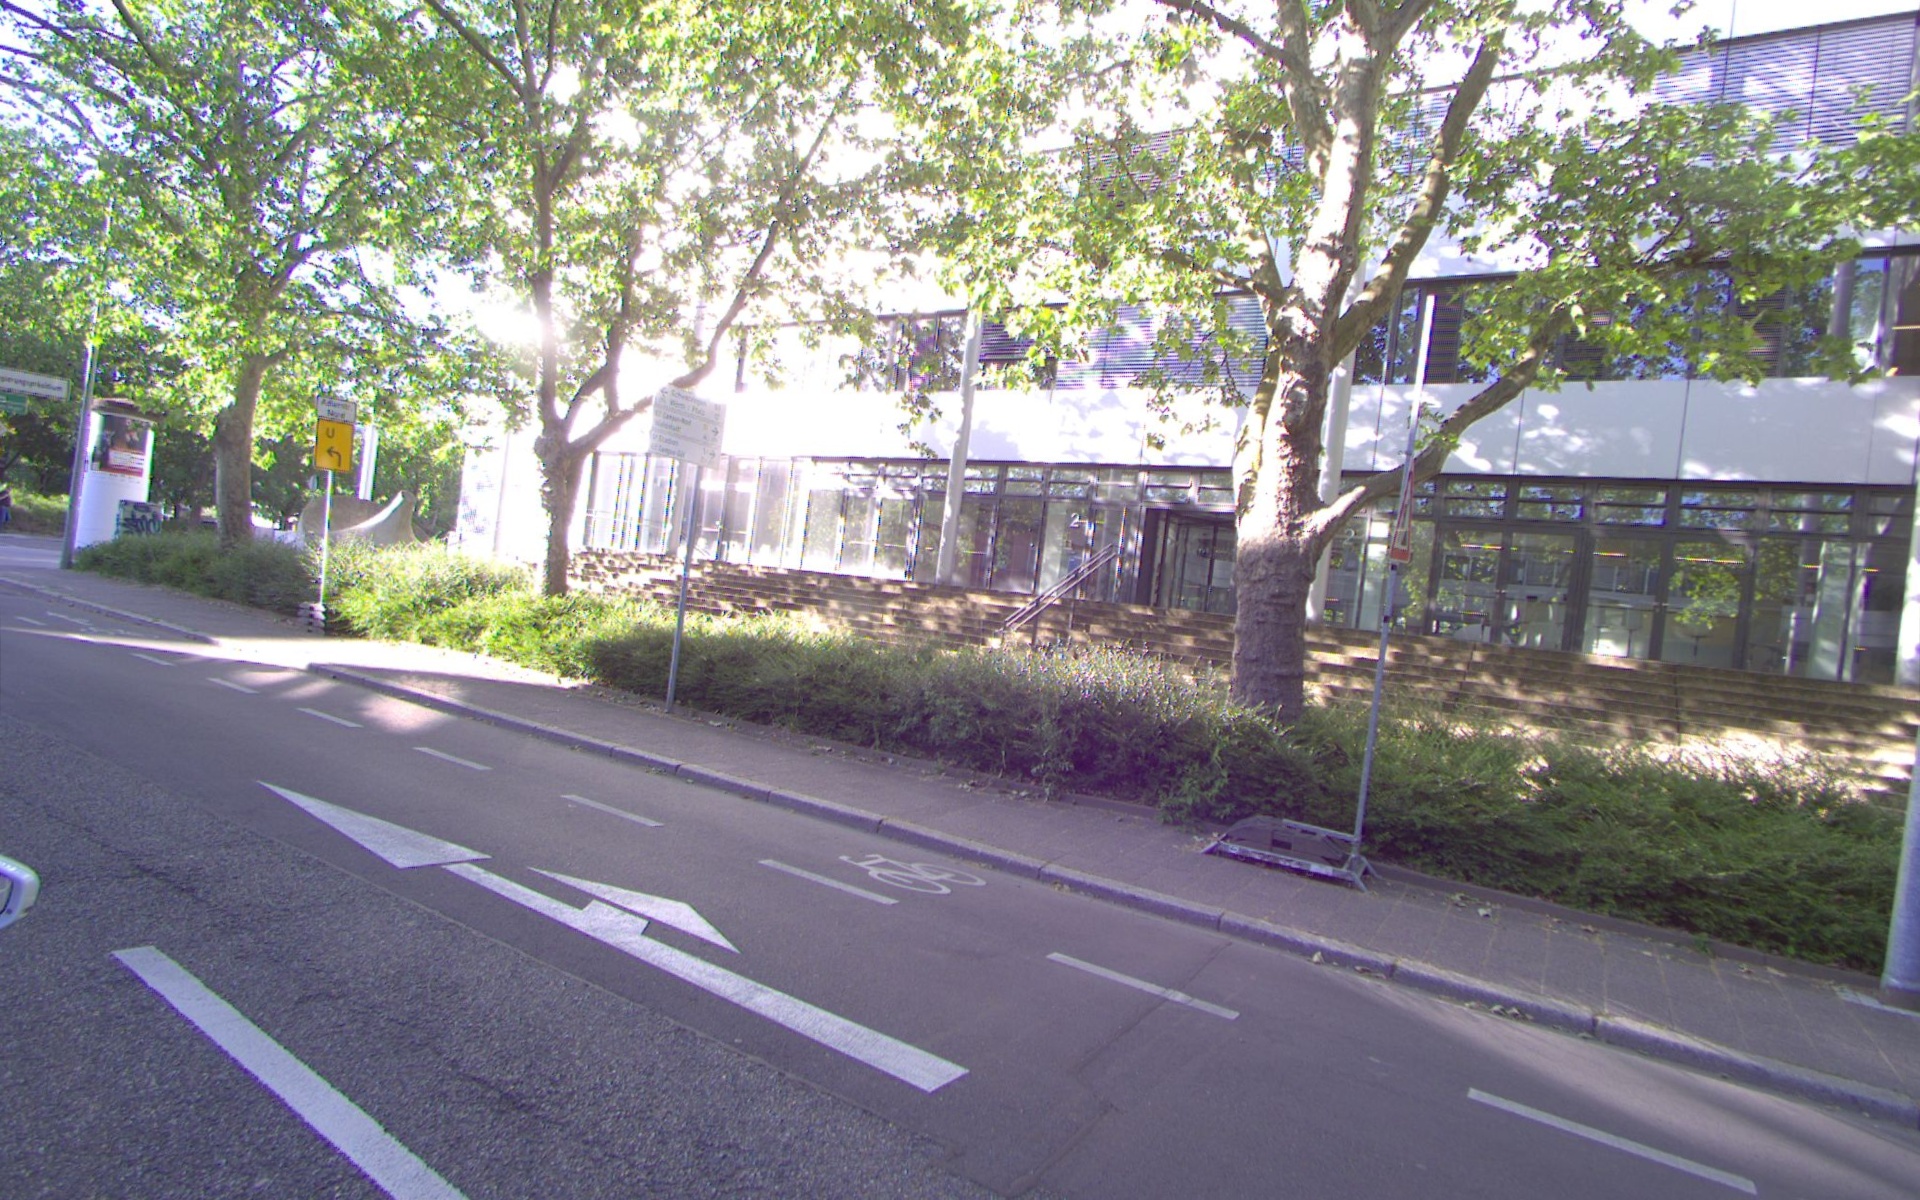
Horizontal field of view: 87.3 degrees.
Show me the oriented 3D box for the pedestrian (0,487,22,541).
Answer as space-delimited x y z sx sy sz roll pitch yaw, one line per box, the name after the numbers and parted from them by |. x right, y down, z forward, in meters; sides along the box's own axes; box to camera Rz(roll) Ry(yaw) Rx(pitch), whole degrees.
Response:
-36.453 -3.287 38.278 0.742 1.932 0.921 6 -1 44 | pedestrian
